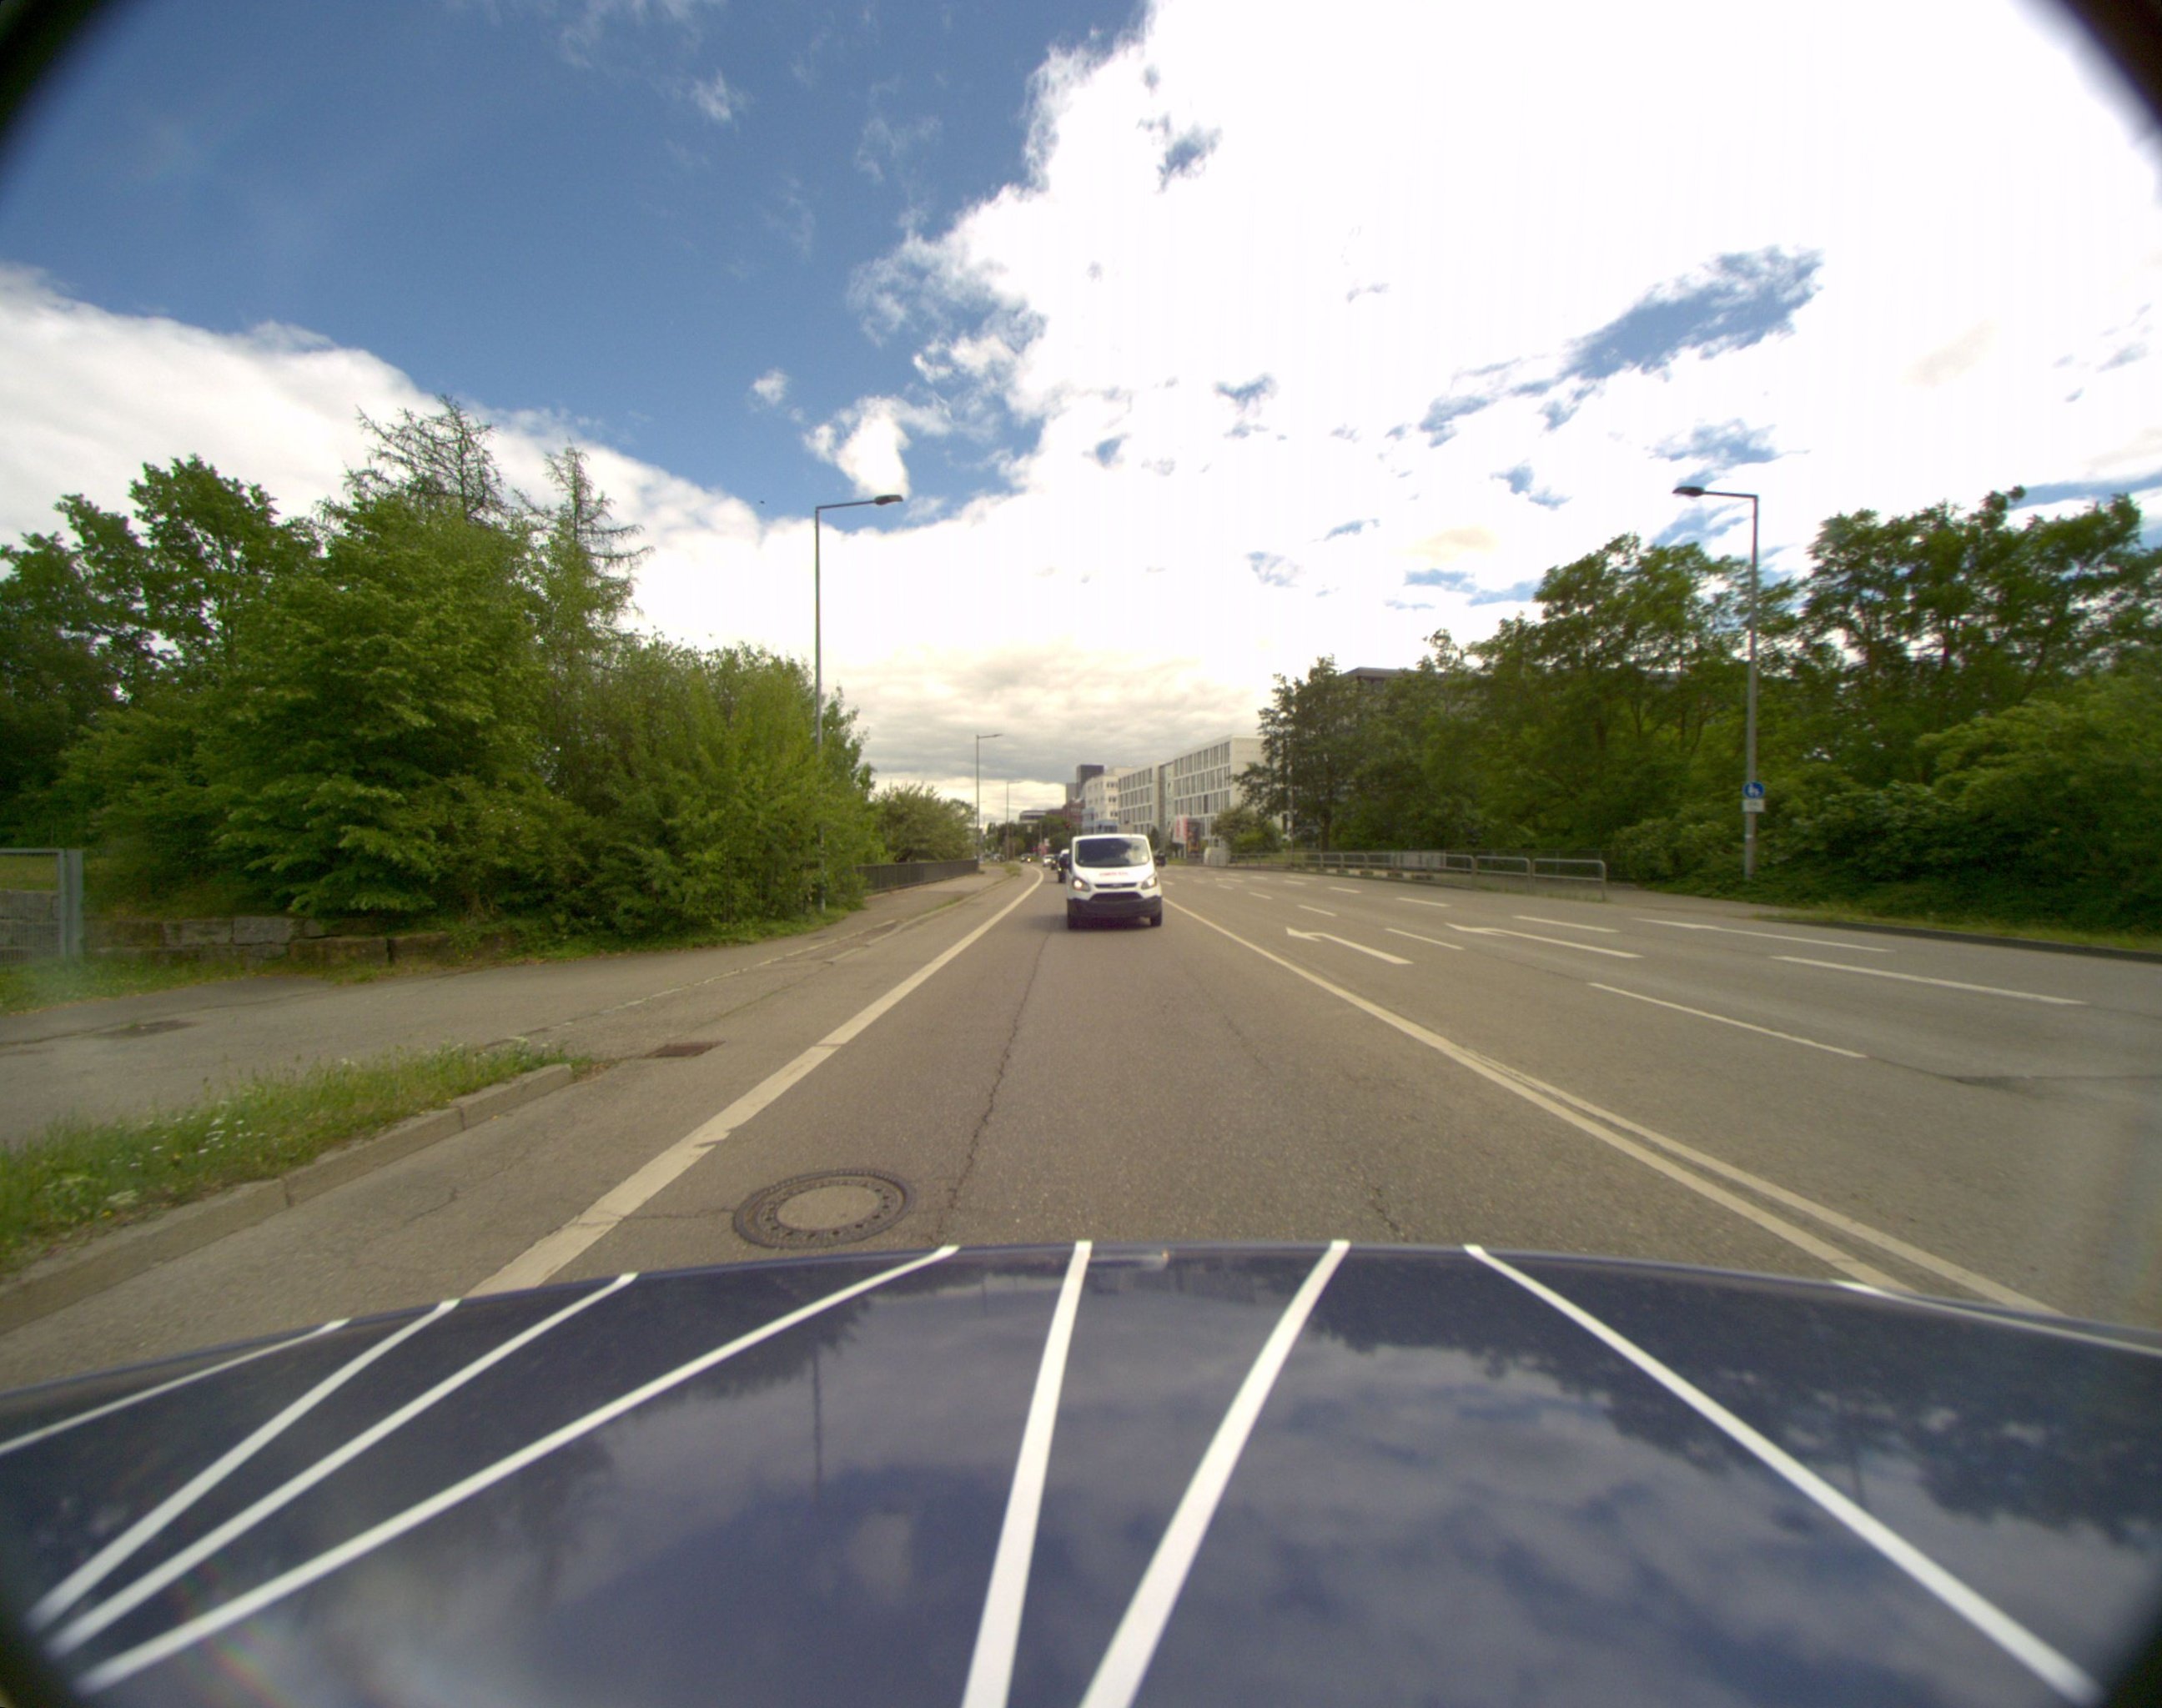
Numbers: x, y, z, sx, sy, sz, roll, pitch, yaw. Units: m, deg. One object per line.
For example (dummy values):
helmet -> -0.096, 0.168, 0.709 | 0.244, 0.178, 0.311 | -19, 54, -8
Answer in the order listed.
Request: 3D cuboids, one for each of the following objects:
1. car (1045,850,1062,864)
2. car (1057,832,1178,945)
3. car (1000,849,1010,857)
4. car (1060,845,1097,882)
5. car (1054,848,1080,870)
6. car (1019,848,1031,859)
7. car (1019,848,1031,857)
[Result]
car -> -3.492, 0.372, 95.936 | 1.873, 1.685, 4.369 | -2, 1, -5
car -> 0.685, 0.593, 16.812 | 2.122, 1.963, 6.206 | -2, 1, 0
car -> -15.611, -0.180, 156.498 | 1.737, 1.432, 4.364 | -2, 1, -9
car -> -0.119, 0.475, 41.321 | 1.872, 1.836, 4.370 | -2, 1, 0
car -> -1.221, 0.375, 63.908 | 1.873, 1.685, 4.369 | -2, 1, -5
car -> -9.742, -0.109, 132.132 | 1.873, 1.685, 4.368 | -2, 1, -8
car -> -10.543, -0.302, 142.816 | 1.873, 1.685, 4.367 | -2, 1, -9
